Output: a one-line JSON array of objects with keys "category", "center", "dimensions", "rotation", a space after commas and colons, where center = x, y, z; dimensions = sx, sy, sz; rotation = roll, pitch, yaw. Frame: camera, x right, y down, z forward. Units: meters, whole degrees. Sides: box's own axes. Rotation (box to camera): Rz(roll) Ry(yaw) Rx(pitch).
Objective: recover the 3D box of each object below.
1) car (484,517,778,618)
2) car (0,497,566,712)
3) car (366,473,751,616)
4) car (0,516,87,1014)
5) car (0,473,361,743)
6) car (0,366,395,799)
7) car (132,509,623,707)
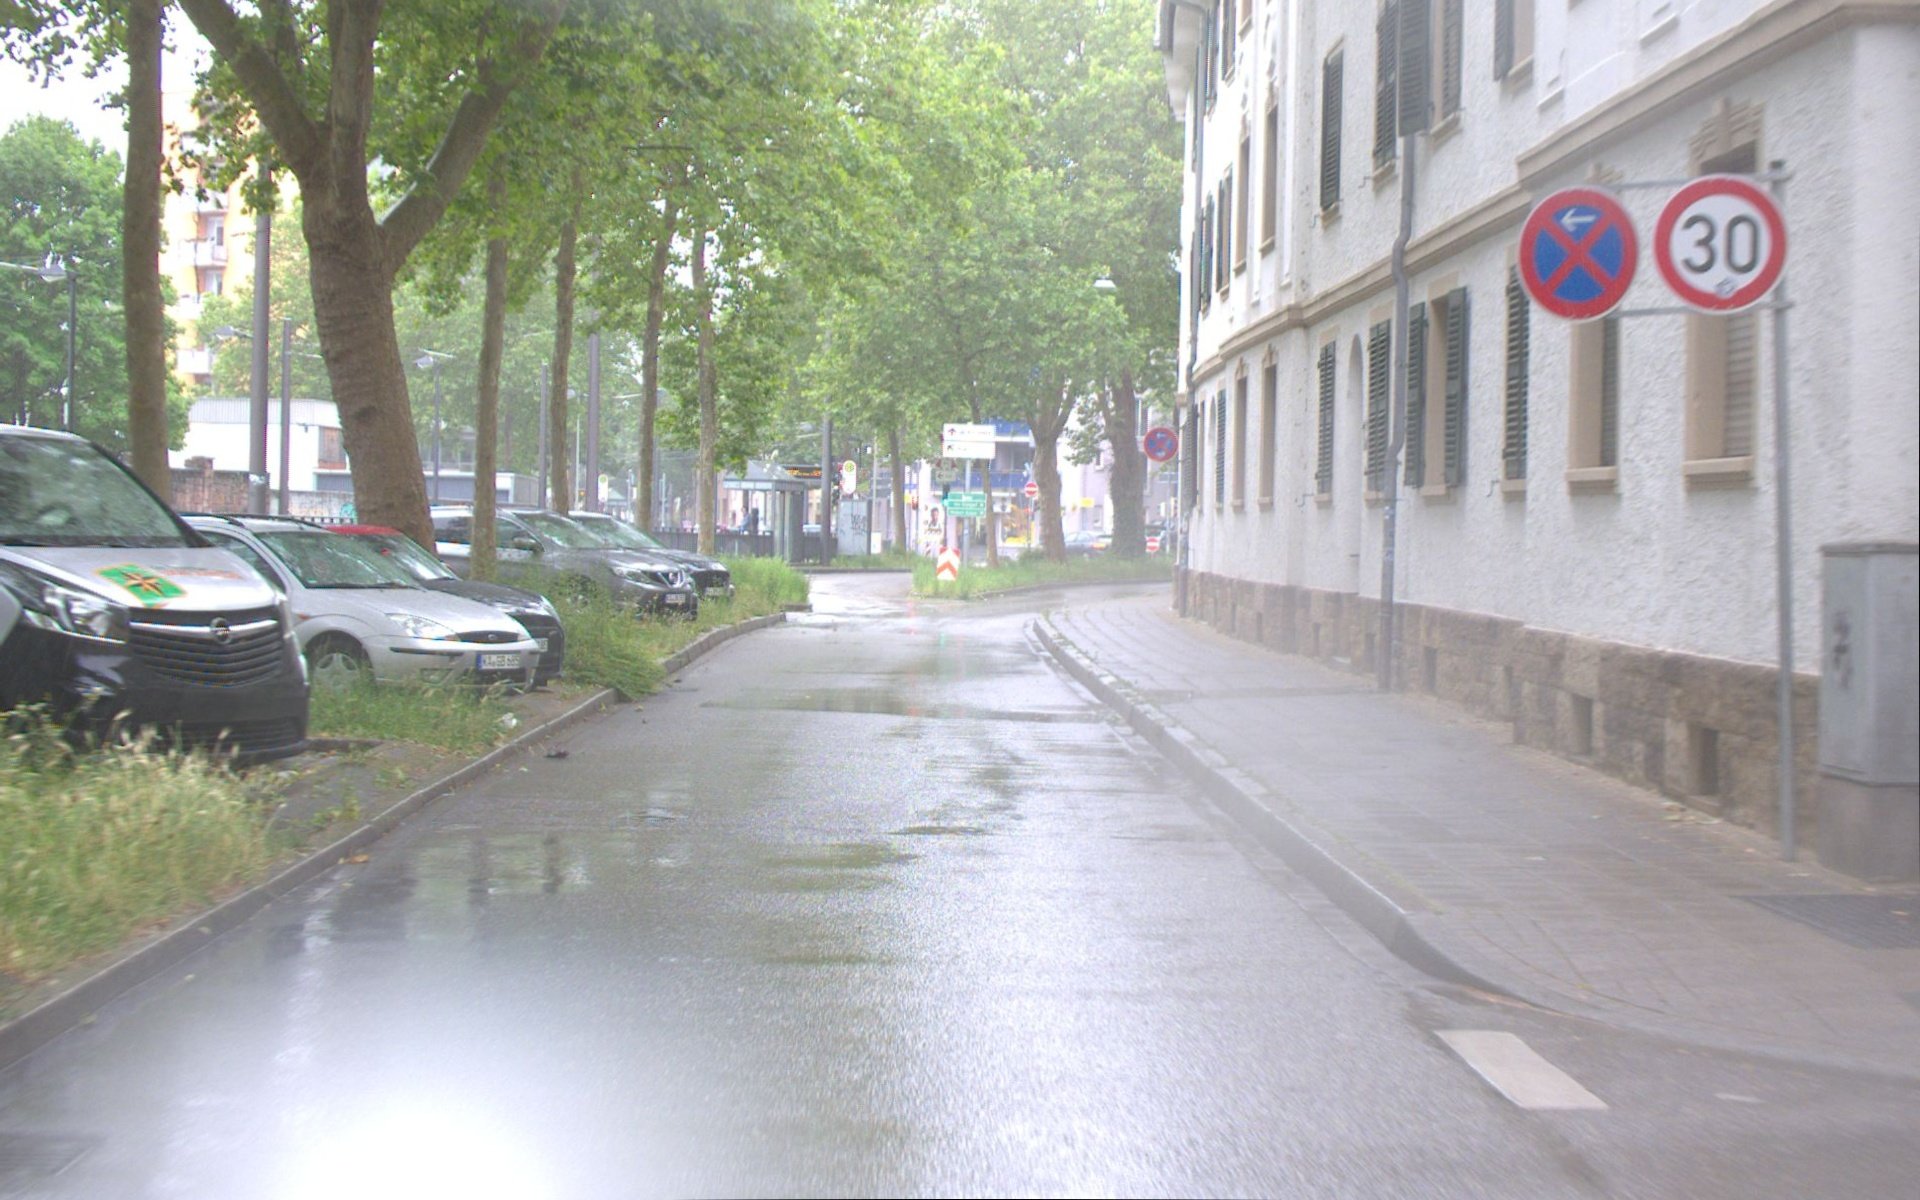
[{"category": "car", "center": [-5.249, -0.553, 54.712], "dimensions": [4.358, 1.507, 1.957], "rotation": [1, 2, 31]}, {"category": "car", "center": [-5.383, -0.002, 26.147], "dimensions": [4.553, 1.477, 1.772], "rotation": [2, 0, 29]}, {"category": "car", "center": [-5.093, -0.703, 43.562], "dimensions": [4.465, 1.591, 1.920], "rotation": [3, 1, 26]}, {"category": "car", "center": [-4.930, 0.359, 10.333], "dimensions": [4.308, 1.432, 1.745], "rotation": [4, 2, 26]}, {"category": "car", "center": [-5.626, 0.007, 20.586], "dimensions": [3.780, 1.477, 1.719], "rotation": [2, 0, 30]}, {"category": "car", "center": [-5.630, -0.137, 17.834], "dimensions": [5.124, 1.971, 2.099], "rotation": [2, 0, 30]}, {"category": "car", "center": [-4.883, 0.041, 28.739], "dimensions": [3.812, 1.516, 1.719], "rotation": [2, 0, 30]}]
